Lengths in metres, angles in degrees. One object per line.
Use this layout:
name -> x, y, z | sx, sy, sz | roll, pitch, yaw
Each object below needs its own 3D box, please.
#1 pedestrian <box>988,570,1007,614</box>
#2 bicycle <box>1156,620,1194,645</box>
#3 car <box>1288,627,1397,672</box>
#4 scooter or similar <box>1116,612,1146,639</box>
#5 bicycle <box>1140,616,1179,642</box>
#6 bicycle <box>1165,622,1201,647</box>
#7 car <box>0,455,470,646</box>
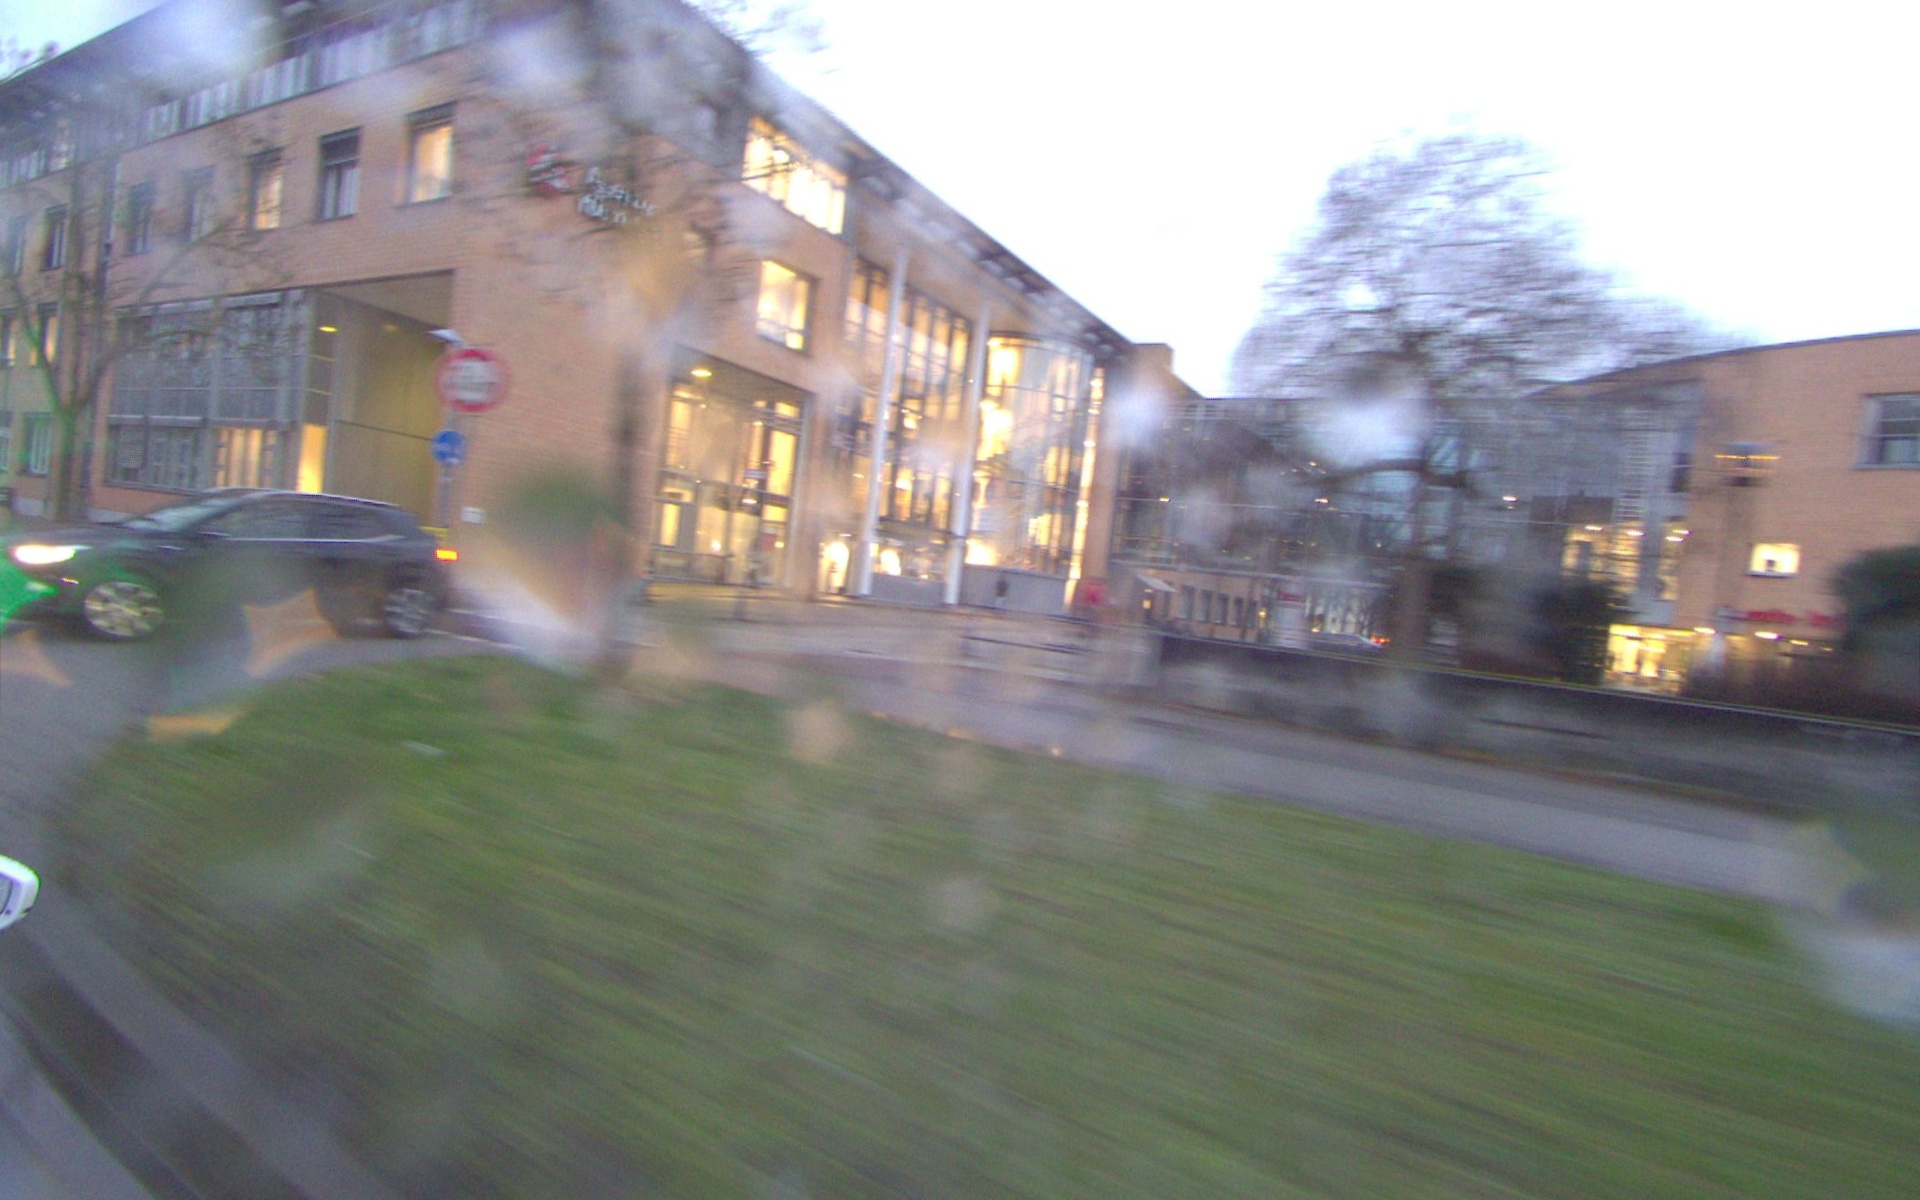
pedestrian -> 1.580, -0.332, 41.932 | 0.498, 1.808, 0.502 | 7, 2, 16
bicycle -> 10.911, 1.641, 51.093 | 1.674, 1.087, 0.492 | 6, -1, 31
car -> 16.747, 2.161, 44.092 | 3.942, 1.416, 1.990 | 7, 2, 40
scooter or similar -> 7.869, 1.186, 46.382 | 1.196, 1.088, 0.393 | 7, -1, 26
bicycle -> 9.717, 1.413, 48.994 | 1.674, 1.087, 0.492 | 6, -1, 31
bicycle -> 11.587, 1.771, 52.322 | 1.674, 1.087, 0.492 | 6, -1, 31
car -> -7.527, -0.418, 10.455 | 1.714, 1.576, 3.987 | 7, 2, 33
